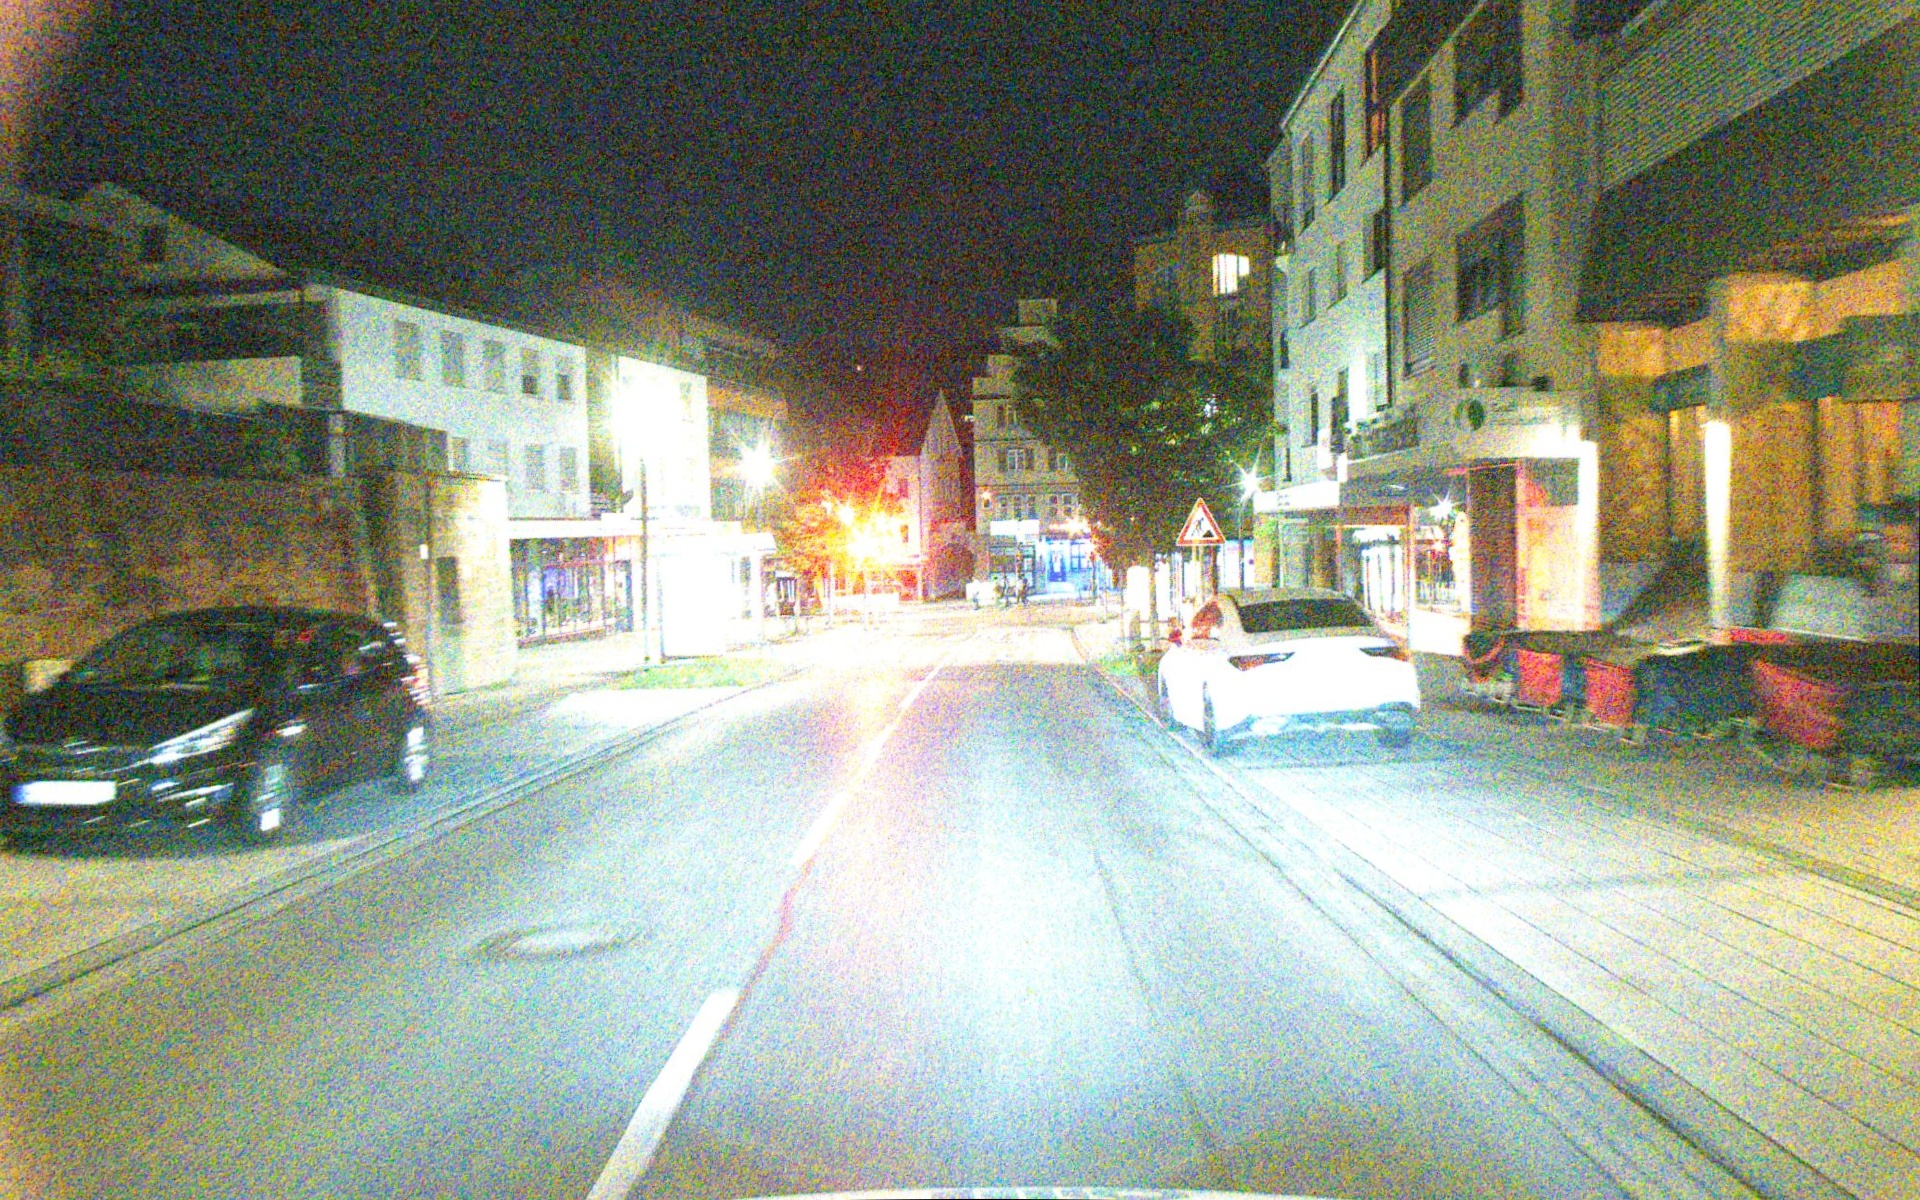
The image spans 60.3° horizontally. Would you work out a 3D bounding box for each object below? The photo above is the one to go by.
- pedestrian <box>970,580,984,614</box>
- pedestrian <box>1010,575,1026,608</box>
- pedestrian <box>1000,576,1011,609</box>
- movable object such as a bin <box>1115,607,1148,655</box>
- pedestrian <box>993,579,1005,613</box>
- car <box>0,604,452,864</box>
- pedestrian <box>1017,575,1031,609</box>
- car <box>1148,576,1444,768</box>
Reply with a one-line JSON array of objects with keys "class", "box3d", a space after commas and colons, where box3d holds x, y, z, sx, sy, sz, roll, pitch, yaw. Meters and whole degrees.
[{"class": "pedestrian", "box3d": [0.929, -0.161, 90.608, 0.700, 1.827, 0.570, -1, -1, 10]}, {"class": "pedestrian", "box3d": [3.220, -0.484, 91.540, 0.562, 1.827, 0.710, 0, -1, -31]}, {"class": "pedestrian", "box3d": [2.578, -0.435, 93.837, 0.556, 1.827, 0.718, -1, -1, -1]}, {"class": "movable object such as a bin", "box3d": [3.456, 0.619, 33.313, 0.514, 0.953, 0.628, -1, -1, -8]}, {"class": "pedestrian", "box3d": [2.166, -0.218, 91.843, 0.556, 1.827, 0.717, -1, -1, -5]}, {"class": "car", "box3d": [-5.075, 0.779, 11.628, 1.657, 1.462, 4.128, 0, 0, 1]}, {"class": "pedestrian", "box3d": [3.503, -0.448, 90.900, 0.719, 1.827, 0.718, -1, -1, 4]}, {"class": "car", "box3d": [3.017, 0.587, 15.847, 1.820, 1.467, 4.594, -3, 0, 0]}]
